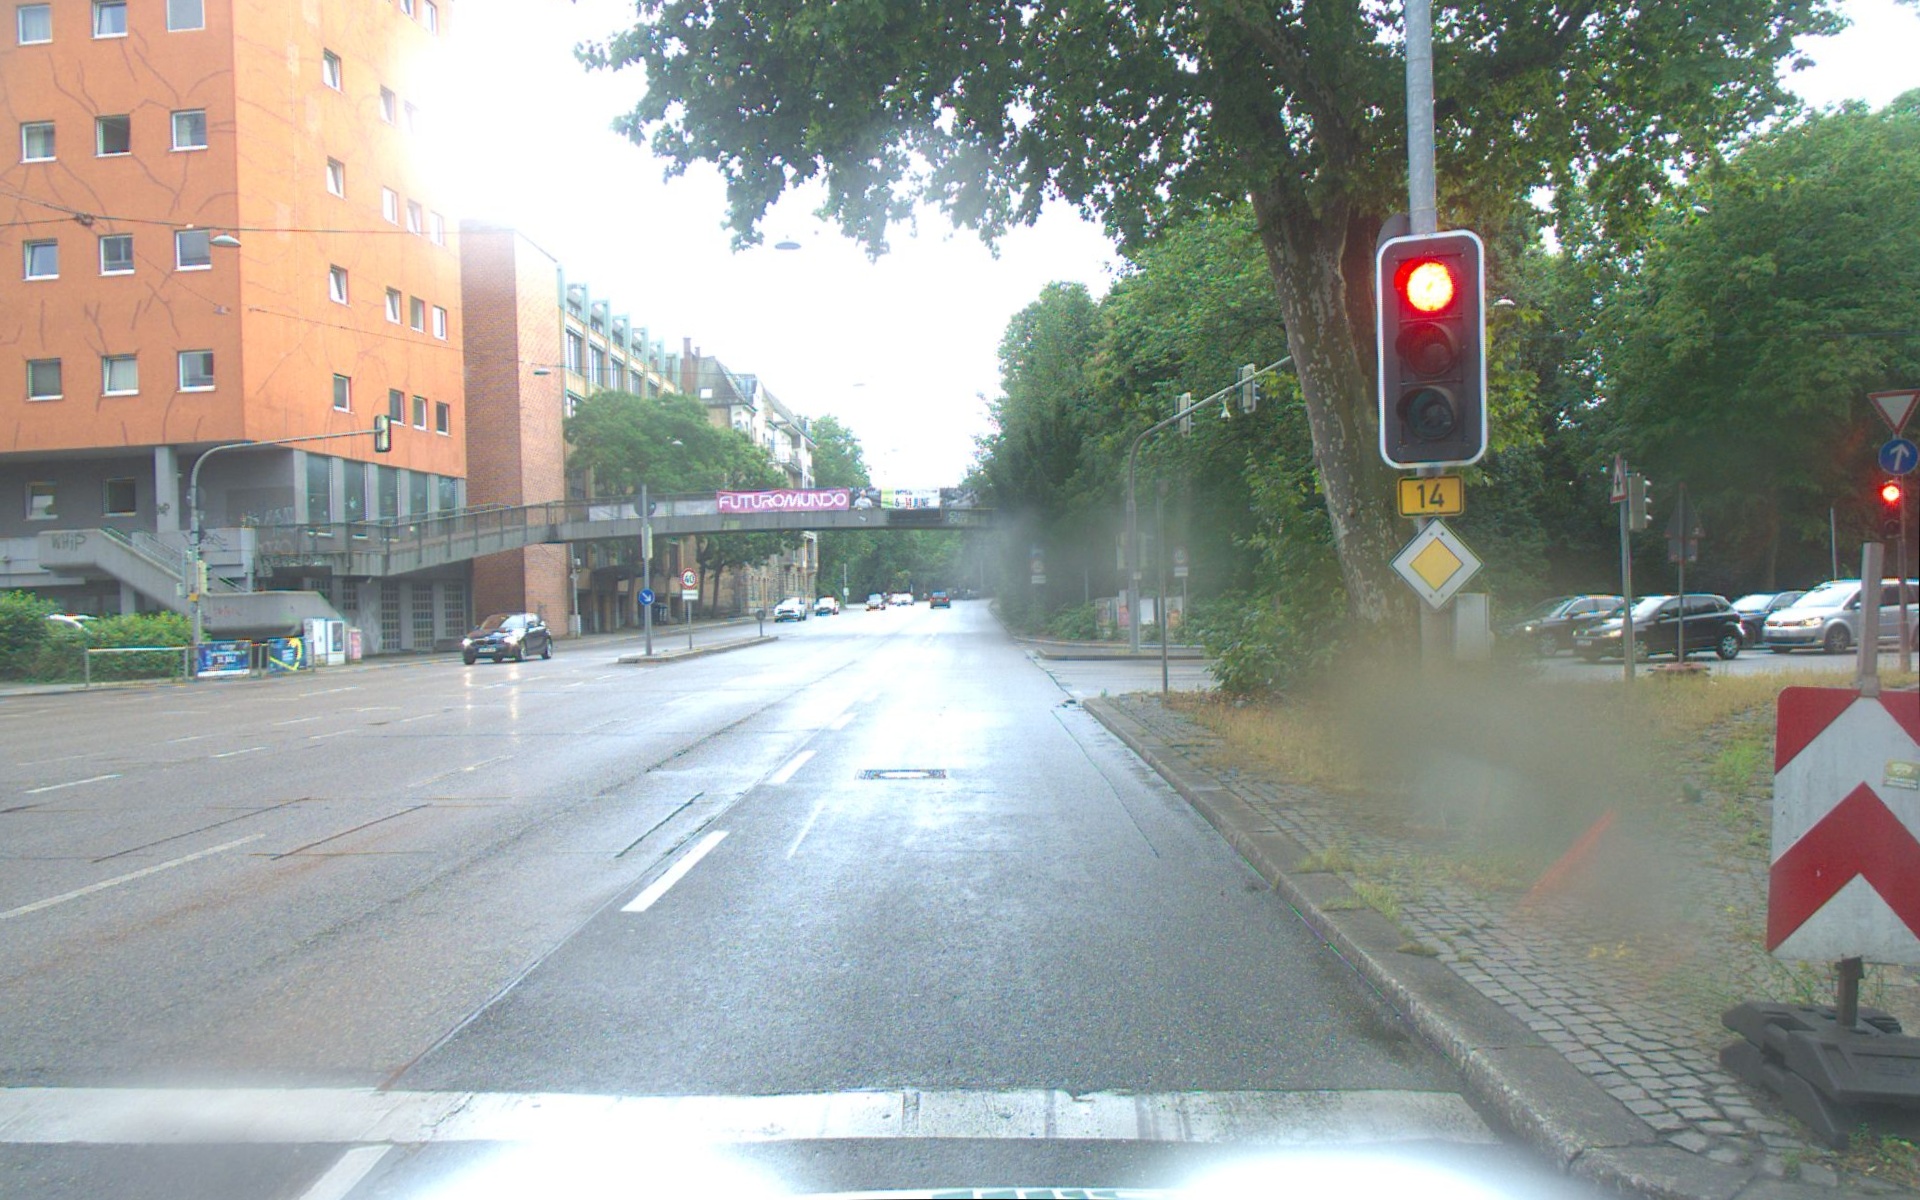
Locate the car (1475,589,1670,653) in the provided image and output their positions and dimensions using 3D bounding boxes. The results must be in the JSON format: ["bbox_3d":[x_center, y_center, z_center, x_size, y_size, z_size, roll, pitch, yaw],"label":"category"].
[{"bbox_3d":[14.893,0.519,40.270,4.131,1.466,1.941,1,0,-17],"label":"car"}]

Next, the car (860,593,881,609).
[{"bbox_3d":[-8.339,0.094,154.376,1.648,1.461,3.863,-2,0,1],"label":"car"}]

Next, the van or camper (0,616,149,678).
[{"bbox_3d":[-25.822,1.334,47.678,3.902,1.656,1.915,-1,0,5],"label":"van or camper"}]

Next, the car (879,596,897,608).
[{"bbox_3d":[-10.302,0.272,235.391,1.576,1.525,3.691,-2,0,-18],"label":"car"}]

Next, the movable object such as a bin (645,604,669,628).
[{"bbox_3d":[-19.836,1.037,108.218,1.272,1.545,1.214,-1,0,1],"label":"movable object such as a bin"}]

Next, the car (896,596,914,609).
[{"bbox_3d":[-6.295,0.261,189.347,1.793,1.418,4.405,-3,0,1],"label":"car"}]

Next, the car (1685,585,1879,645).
[{"bbox_3d":[20.818,0.379,41.917,4.361,1.427,1.821,1,0,-17],"label":"car"}]

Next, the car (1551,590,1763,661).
[{"bbox_3d":[15.370,0.560,36.510,4.119,1.486,1.785,1,0,-17],"label":"car"}]

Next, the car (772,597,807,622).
[{"bbox_3d":[-11.828,0.640,115.058,1.850,1.638,4.457,-1,0,2],"label":"car"}]

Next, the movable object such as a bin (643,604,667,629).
[{"bbox_3d":[-19.681,1.057,106.804,1.256,1.545,1.273,-1,0,1],"label":"movable object such as a bin"}]

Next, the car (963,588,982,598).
[{"bbox_3d":[1.760,-0.975,231.788,1.810,1.478,3.765,1,0,-12],"label":"car"}]

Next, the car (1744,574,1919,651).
[{"bbox_3d":[20.647,0.304,38.514,4.129,1.709,1.898,1,0,-17],"label":"car"}]

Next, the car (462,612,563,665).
[{"bbox_3d":[-13.276,1.119,49.294,1.651,1.444,4.216,-2,-1,2],"label":"car"}]

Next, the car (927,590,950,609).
[{"bbox_3d":[-2.022,-0.044,151.640,1.964,1.672,4.374,-1,0,-2],"label":"car"}]

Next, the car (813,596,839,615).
[{"bbox_3d":[-11.303,0.466,140.136,1.673,1.490,4.042,-2,0,2],"label":"car"}]
